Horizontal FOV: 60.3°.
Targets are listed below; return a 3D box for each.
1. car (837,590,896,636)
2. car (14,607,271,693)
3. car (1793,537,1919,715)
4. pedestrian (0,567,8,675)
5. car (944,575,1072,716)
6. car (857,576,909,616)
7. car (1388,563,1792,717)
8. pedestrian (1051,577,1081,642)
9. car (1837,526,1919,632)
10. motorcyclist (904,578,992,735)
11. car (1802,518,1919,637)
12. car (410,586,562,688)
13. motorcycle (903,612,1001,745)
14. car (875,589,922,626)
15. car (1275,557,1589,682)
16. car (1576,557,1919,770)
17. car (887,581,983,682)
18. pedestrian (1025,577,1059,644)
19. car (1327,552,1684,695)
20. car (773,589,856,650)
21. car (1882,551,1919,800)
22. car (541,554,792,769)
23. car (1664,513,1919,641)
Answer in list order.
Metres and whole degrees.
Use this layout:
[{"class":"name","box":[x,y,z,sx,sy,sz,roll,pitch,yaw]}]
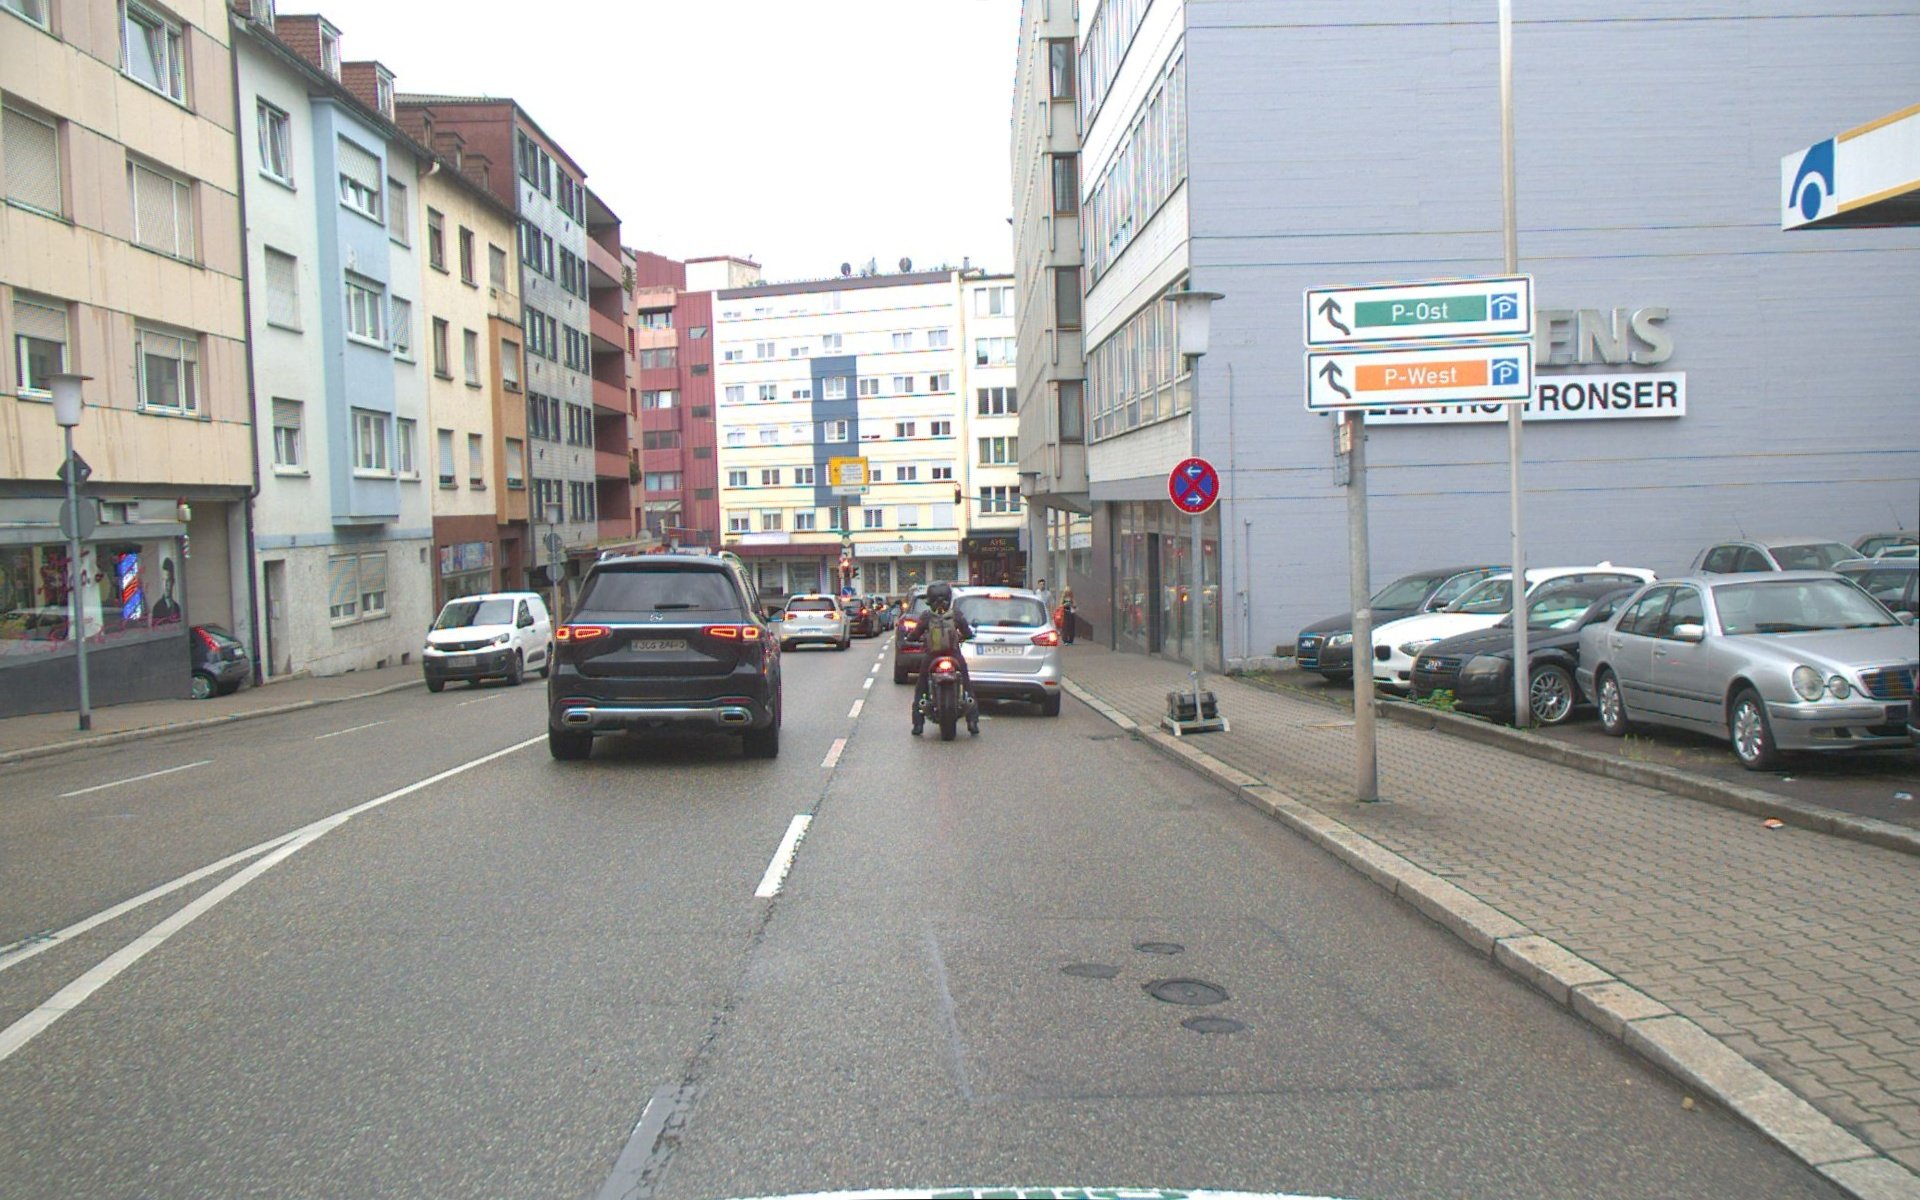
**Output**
[{"class":"car","box":[-3.264,0.430,58.449,1.846,1.529,4.399,0,1,0]},{"class":"car","box":[-15.285,0.922,31.075,3.908,1.525,1.798,-1,-1,-3]},{"class":"car","box":[9.077,0.231,14.892,1.496,1.539,3.392,0,-1,1]},{"class":"pedestrian","box":[-16.158,0.367,27.210,0.587,1.759,0.571,-1,4,-4]},{"class":"car","box":[0.572,0.531,21.664,1.388,1.679,3.105,-1,1,-3]},{"class":"car","box":[-3.008,-0.172,65.409,1.846,1.529,4.399,0,1,0]},{"class":"car","box":[6.780,0.416,17.839,3.928,1.521,1.723,0,-1,-20]},{"class":"pedestrian","box":[2.763,0.247,43.192,0.703,1.639,0.610,-1,2,-4]},{"class":"car","box":[11.823,-0.246,19.032,1.422,1.223,3.387,0,-1,-6]},{"class":"motorcyclist","box":[-0.131,0.585,17.372,0.850,1.587,0.763,-1,-1,-4]},{"class":"car","box":[13.665,-0.293,23.501,1.422,1.625,3.387,0,-1,-6]},{"class":"car","box":[-9.383,0.670,33.132,1.832,1.783,4.397,-4,1,-2]},{"class":"motorcycle","box":[-0.125,0.772,17.392,0.850,1.207,2.560,-1,1,-4]},{"class":"car","box":[-2.625,0.301,71.162,1.846,1.529,4.399,0,1,0]},{"class":"car","box":[6.540,0.274,22.961,3.928,1.625,1.788,0,-1,-20]},{"class":"car","box":[6.669,0.425,13.720,1.534,1.503,4.069,0,1,-1]},{"class":"car","box":[-0.471,0.490,28.200,1.492,1.575,3.105,-1,1,-3]},{"class":"pedestrian","box":[2.092,0.261,42.158,0.754,1.639,0.703,-1,2,-4]},{"class":"car","box":[6.690,0.292,20.335,3.928,1.625,1.788,0,-1,-20]},{"class":"car","box":[-3.861,0.475,44.505,1.846,1.529,4.399,0,1,0]},{"class":"car","box":[6.681,0.478,8.196,1.760,1.503,4.485,0,1,0]},{"class":"car","box":[-2.665,0.491,16.081,1.981,1.770,4.742,1,0,-5]},{"class":"car","box":[11.546,-0.265,22.914,1.613,1.625,3.862,0,-1,-6]}]
